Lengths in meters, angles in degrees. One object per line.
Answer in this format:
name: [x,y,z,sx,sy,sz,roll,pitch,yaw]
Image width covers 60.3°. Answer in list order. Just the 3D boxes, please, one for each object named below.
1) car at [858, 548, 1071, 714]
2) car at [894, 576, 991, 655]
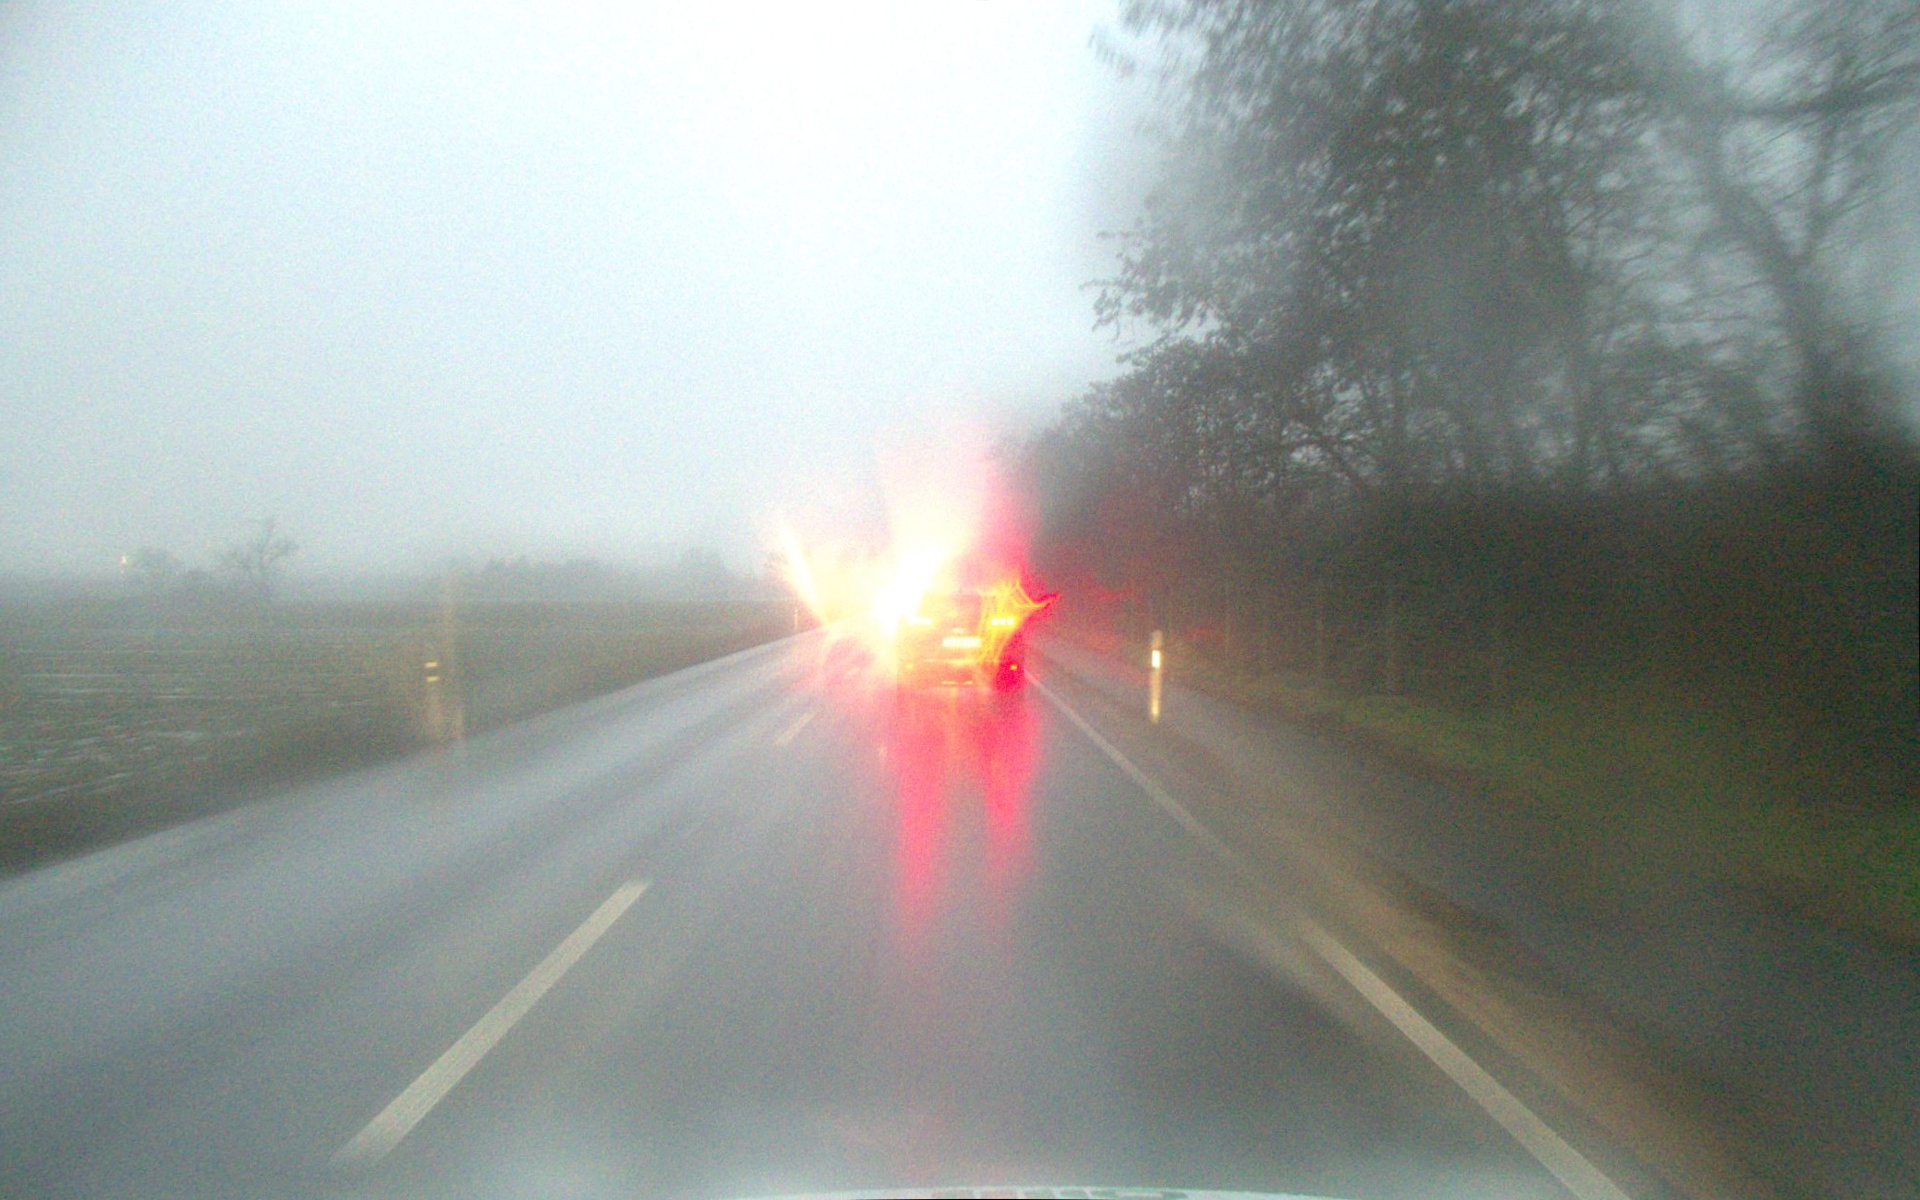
car: [0.058,0.409,24.596,2.763,2.113,5.804,1,0,0]
car: [-0.473,0.409,47.105,2.539,2.049,5.804,1,0,0]
